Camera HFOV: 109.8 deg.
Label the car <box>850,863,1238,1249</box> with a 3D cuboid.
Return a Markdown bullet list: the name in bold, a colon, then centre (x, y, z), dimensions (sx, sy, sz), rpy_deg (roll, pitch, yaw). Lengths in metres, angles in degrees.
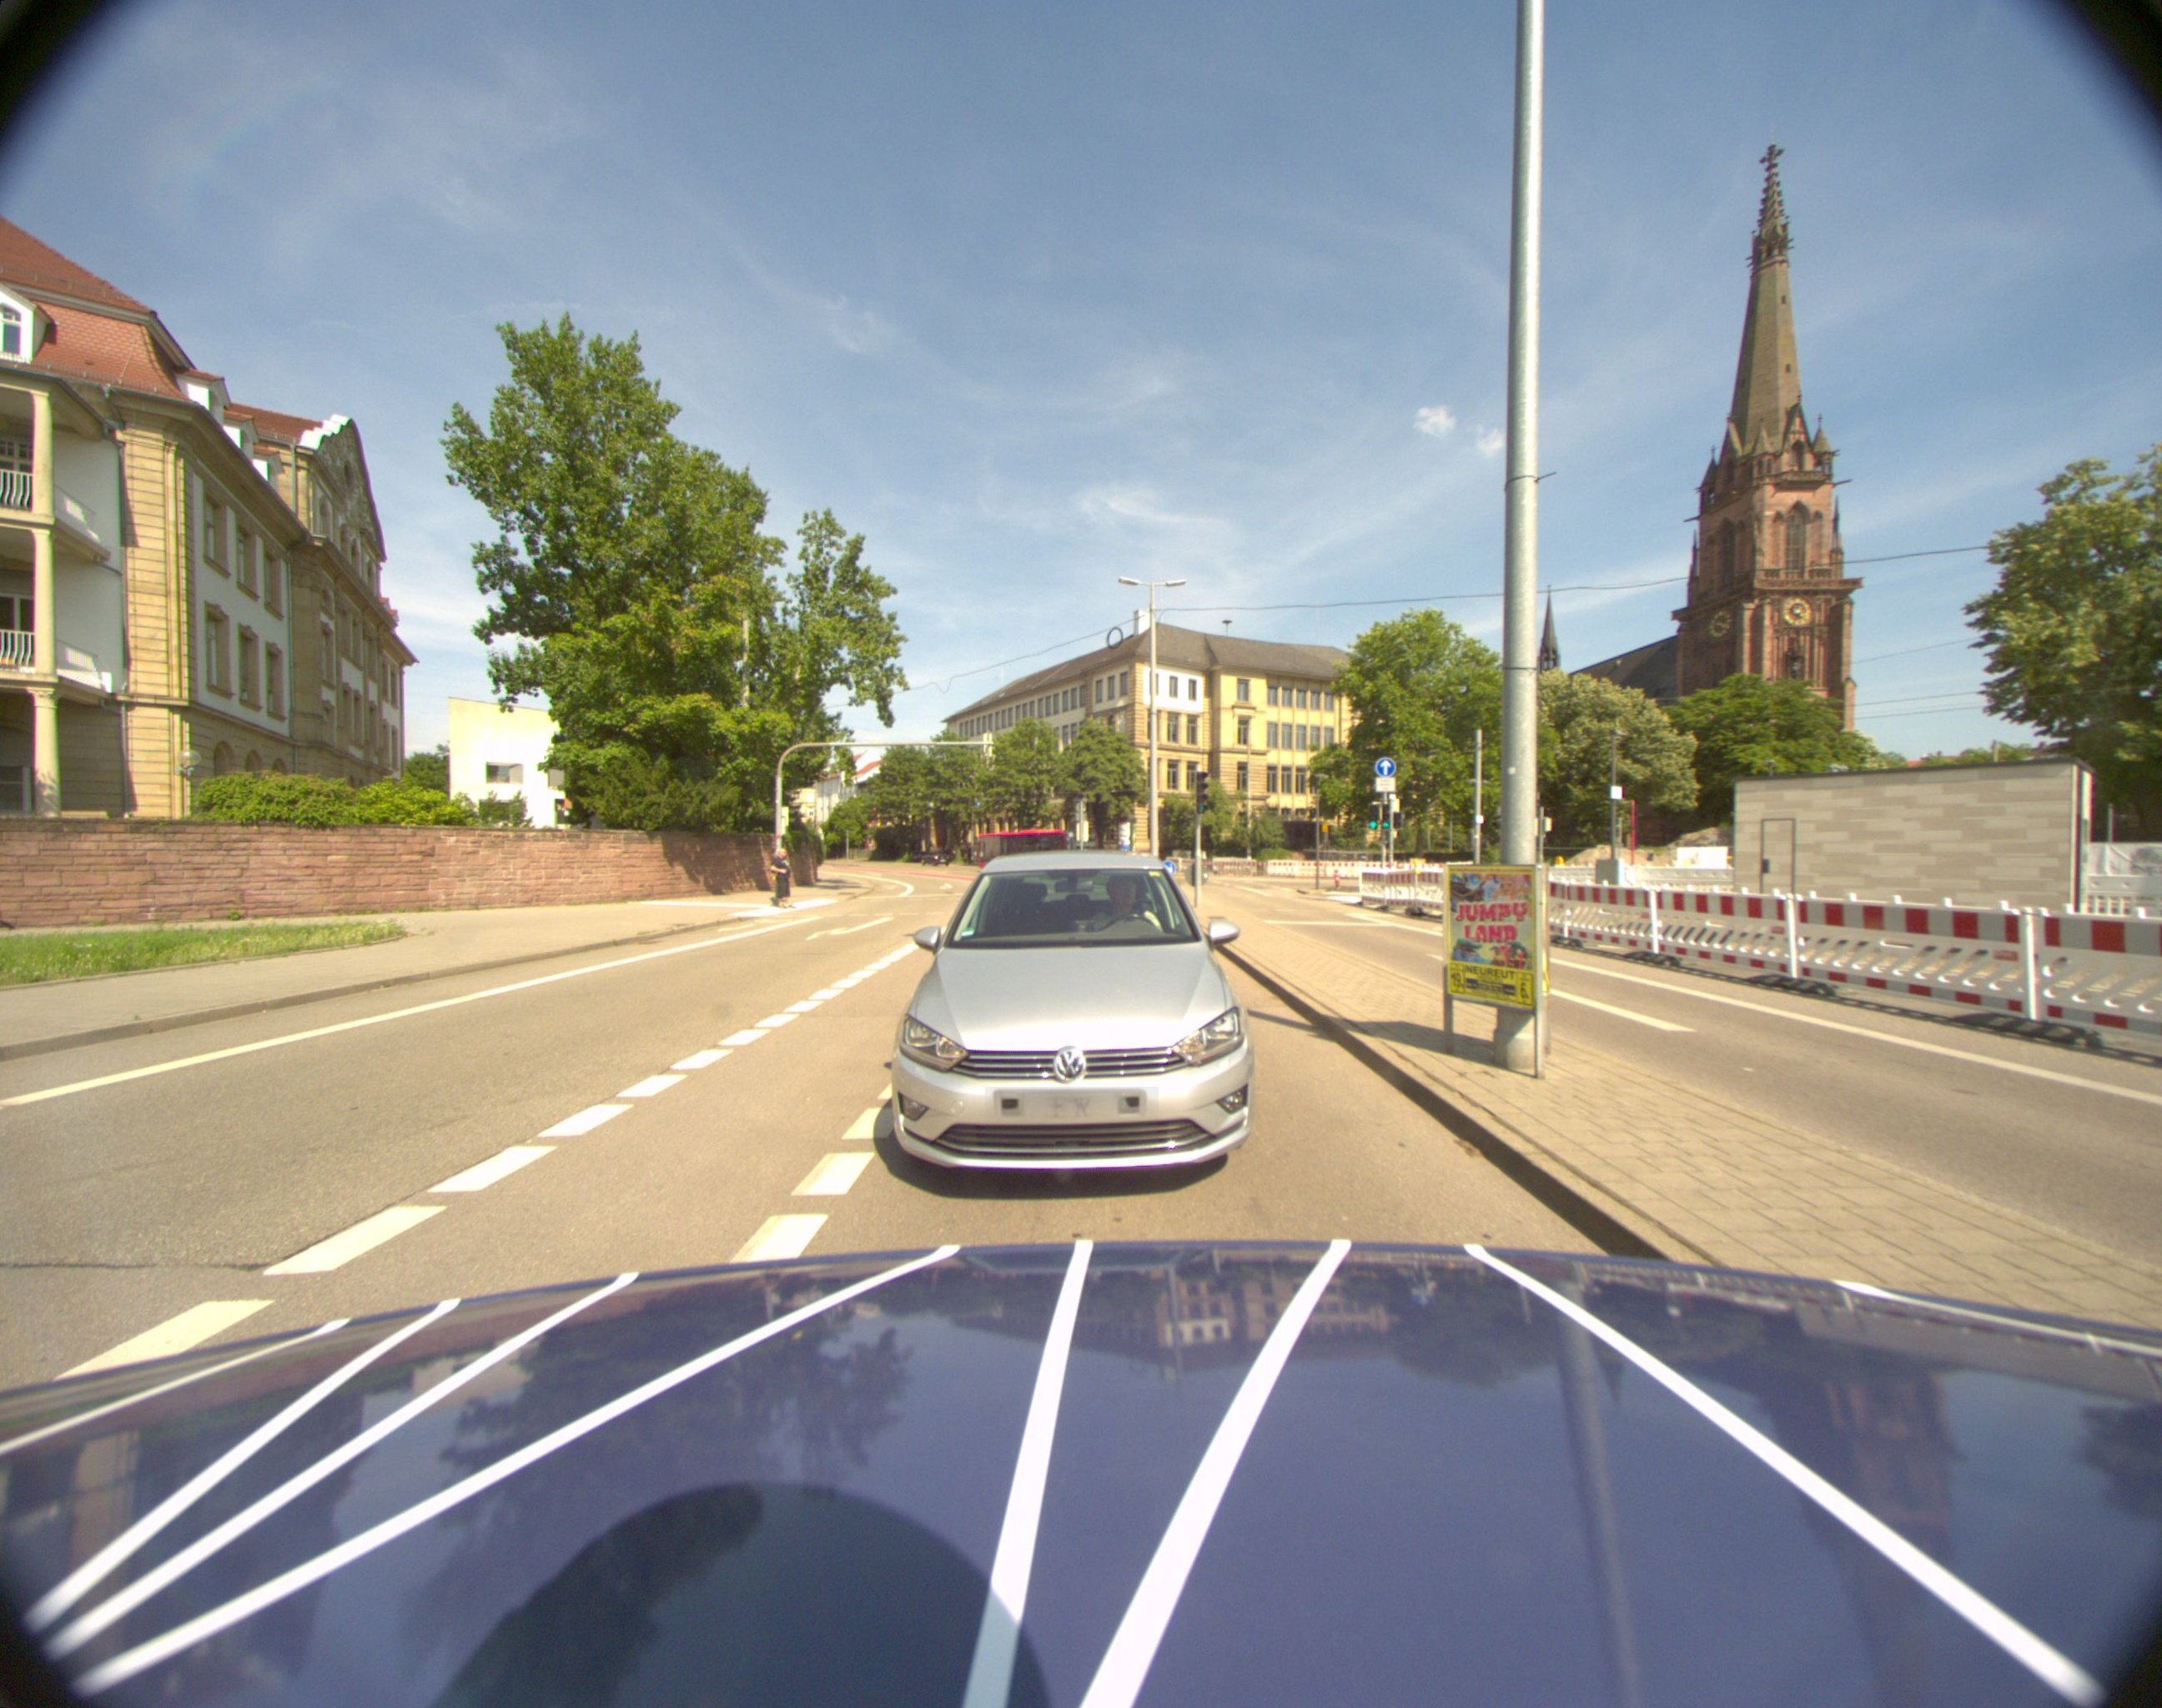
- **car**: centre (-0.068, 0.897, 5.385), dimensions (1.687, 1.577, 4.152), rpy_deg (0, 1, 3)

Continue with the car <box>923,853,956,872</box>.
- **car**: centre (-14.456, 0.859, 77.488), dimensions (2.003, 1.880, 3.990), rpy_deg (-3, 1, -31)

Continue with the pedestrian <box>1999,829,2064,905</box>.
- **pedestrian**: centre (25.566, 0.338, 20.451), dimensions (0.820, 2.002, 0.686), rpy_deg (1, 1, 3)

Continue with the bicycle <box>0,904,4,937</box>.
- **bicycle**: centre (-20.555, 1.243, 13.902), dimensions (0.274, 0.598, 0.950), rpy_deg (1, 1, 39)

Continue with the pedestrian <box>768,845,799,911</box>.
- **pedestrian**: centre (-9.144, 0.727, 23.398), dimensions (0.796, 2.002, 0.615), rpy_deg (0, 1, -14)

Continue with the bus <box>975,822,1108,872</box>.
- **bus**: centre (-3.142, -0.401, 53.343), dimensions (3.138, 3.076, 12.381), rpy_deg (-3, 1, -35)
